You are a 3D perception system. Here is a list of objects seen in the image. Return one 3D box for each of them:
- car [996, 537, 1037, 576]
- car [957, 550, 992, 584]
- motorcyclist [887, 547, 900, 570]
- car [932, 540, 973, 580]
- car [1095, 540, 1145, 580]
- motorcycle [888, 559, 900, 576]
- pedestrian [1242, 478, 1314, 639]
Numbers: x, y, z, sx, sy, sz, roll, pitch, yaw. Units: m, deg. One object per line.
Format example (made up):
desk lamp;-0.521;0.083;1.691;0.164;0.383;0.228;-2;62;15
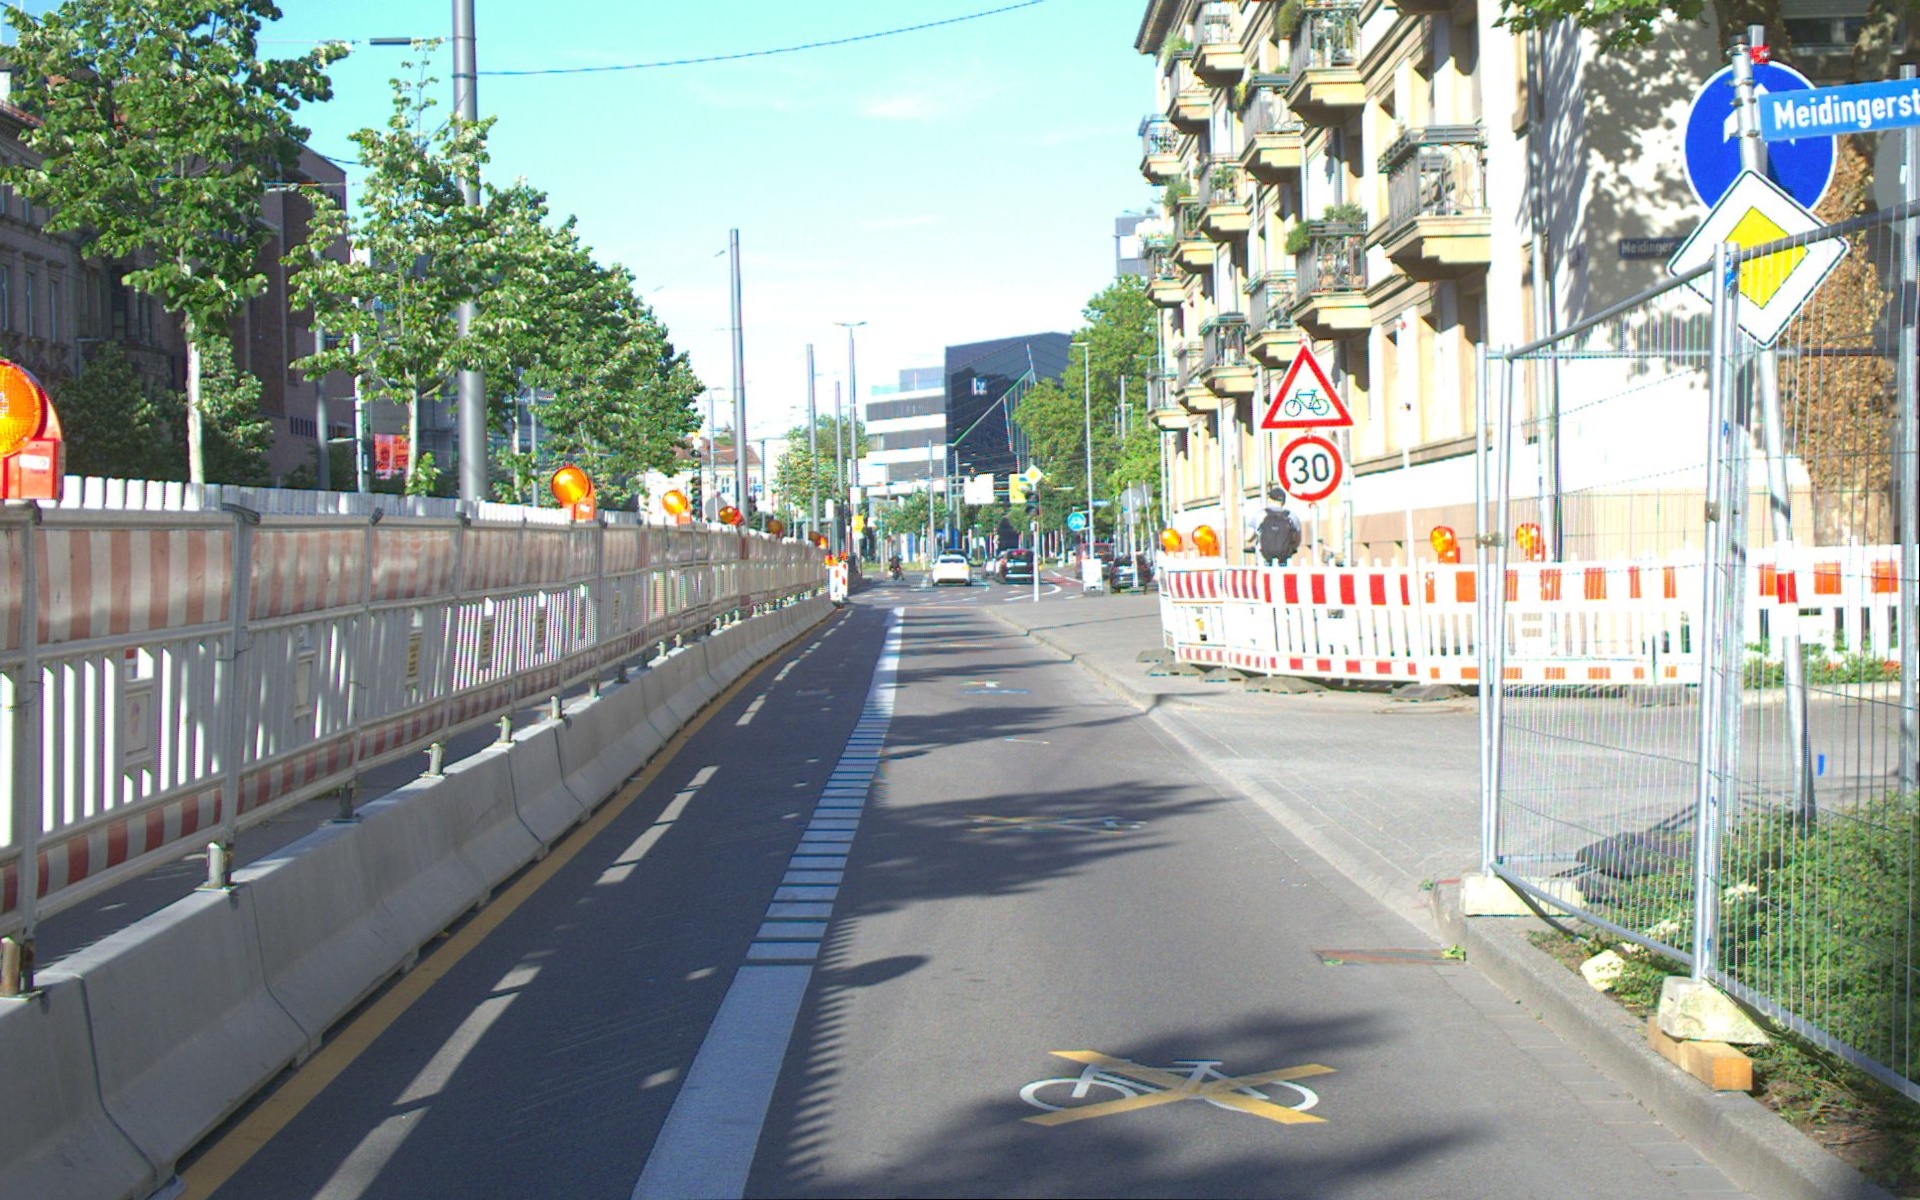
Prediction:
car;2.775;-2.142;169.767;1.883;1.836;3.668;-1;1;-1
car;0.818;-1.863;194.860;1.883;1.836;3.668;-1;1;-1
motorcyclist;-3.671;-2.284;189.802;0.631;1.258;0.606;-1;1;-1
car;-0.367;-1.905;163.159;1.883;1.836;3.668;-1;1;-1
car;6.547;-1.649;140.818;1.883;1.584;3.668;-1;1;0
motorcycle;-3.655;-1.806;189.737;0.631;0.893;1.621;-1;1;-1
pedestrian;3.502;-0.465;37.890;0.669;1.740;0.778;-1;1;0
